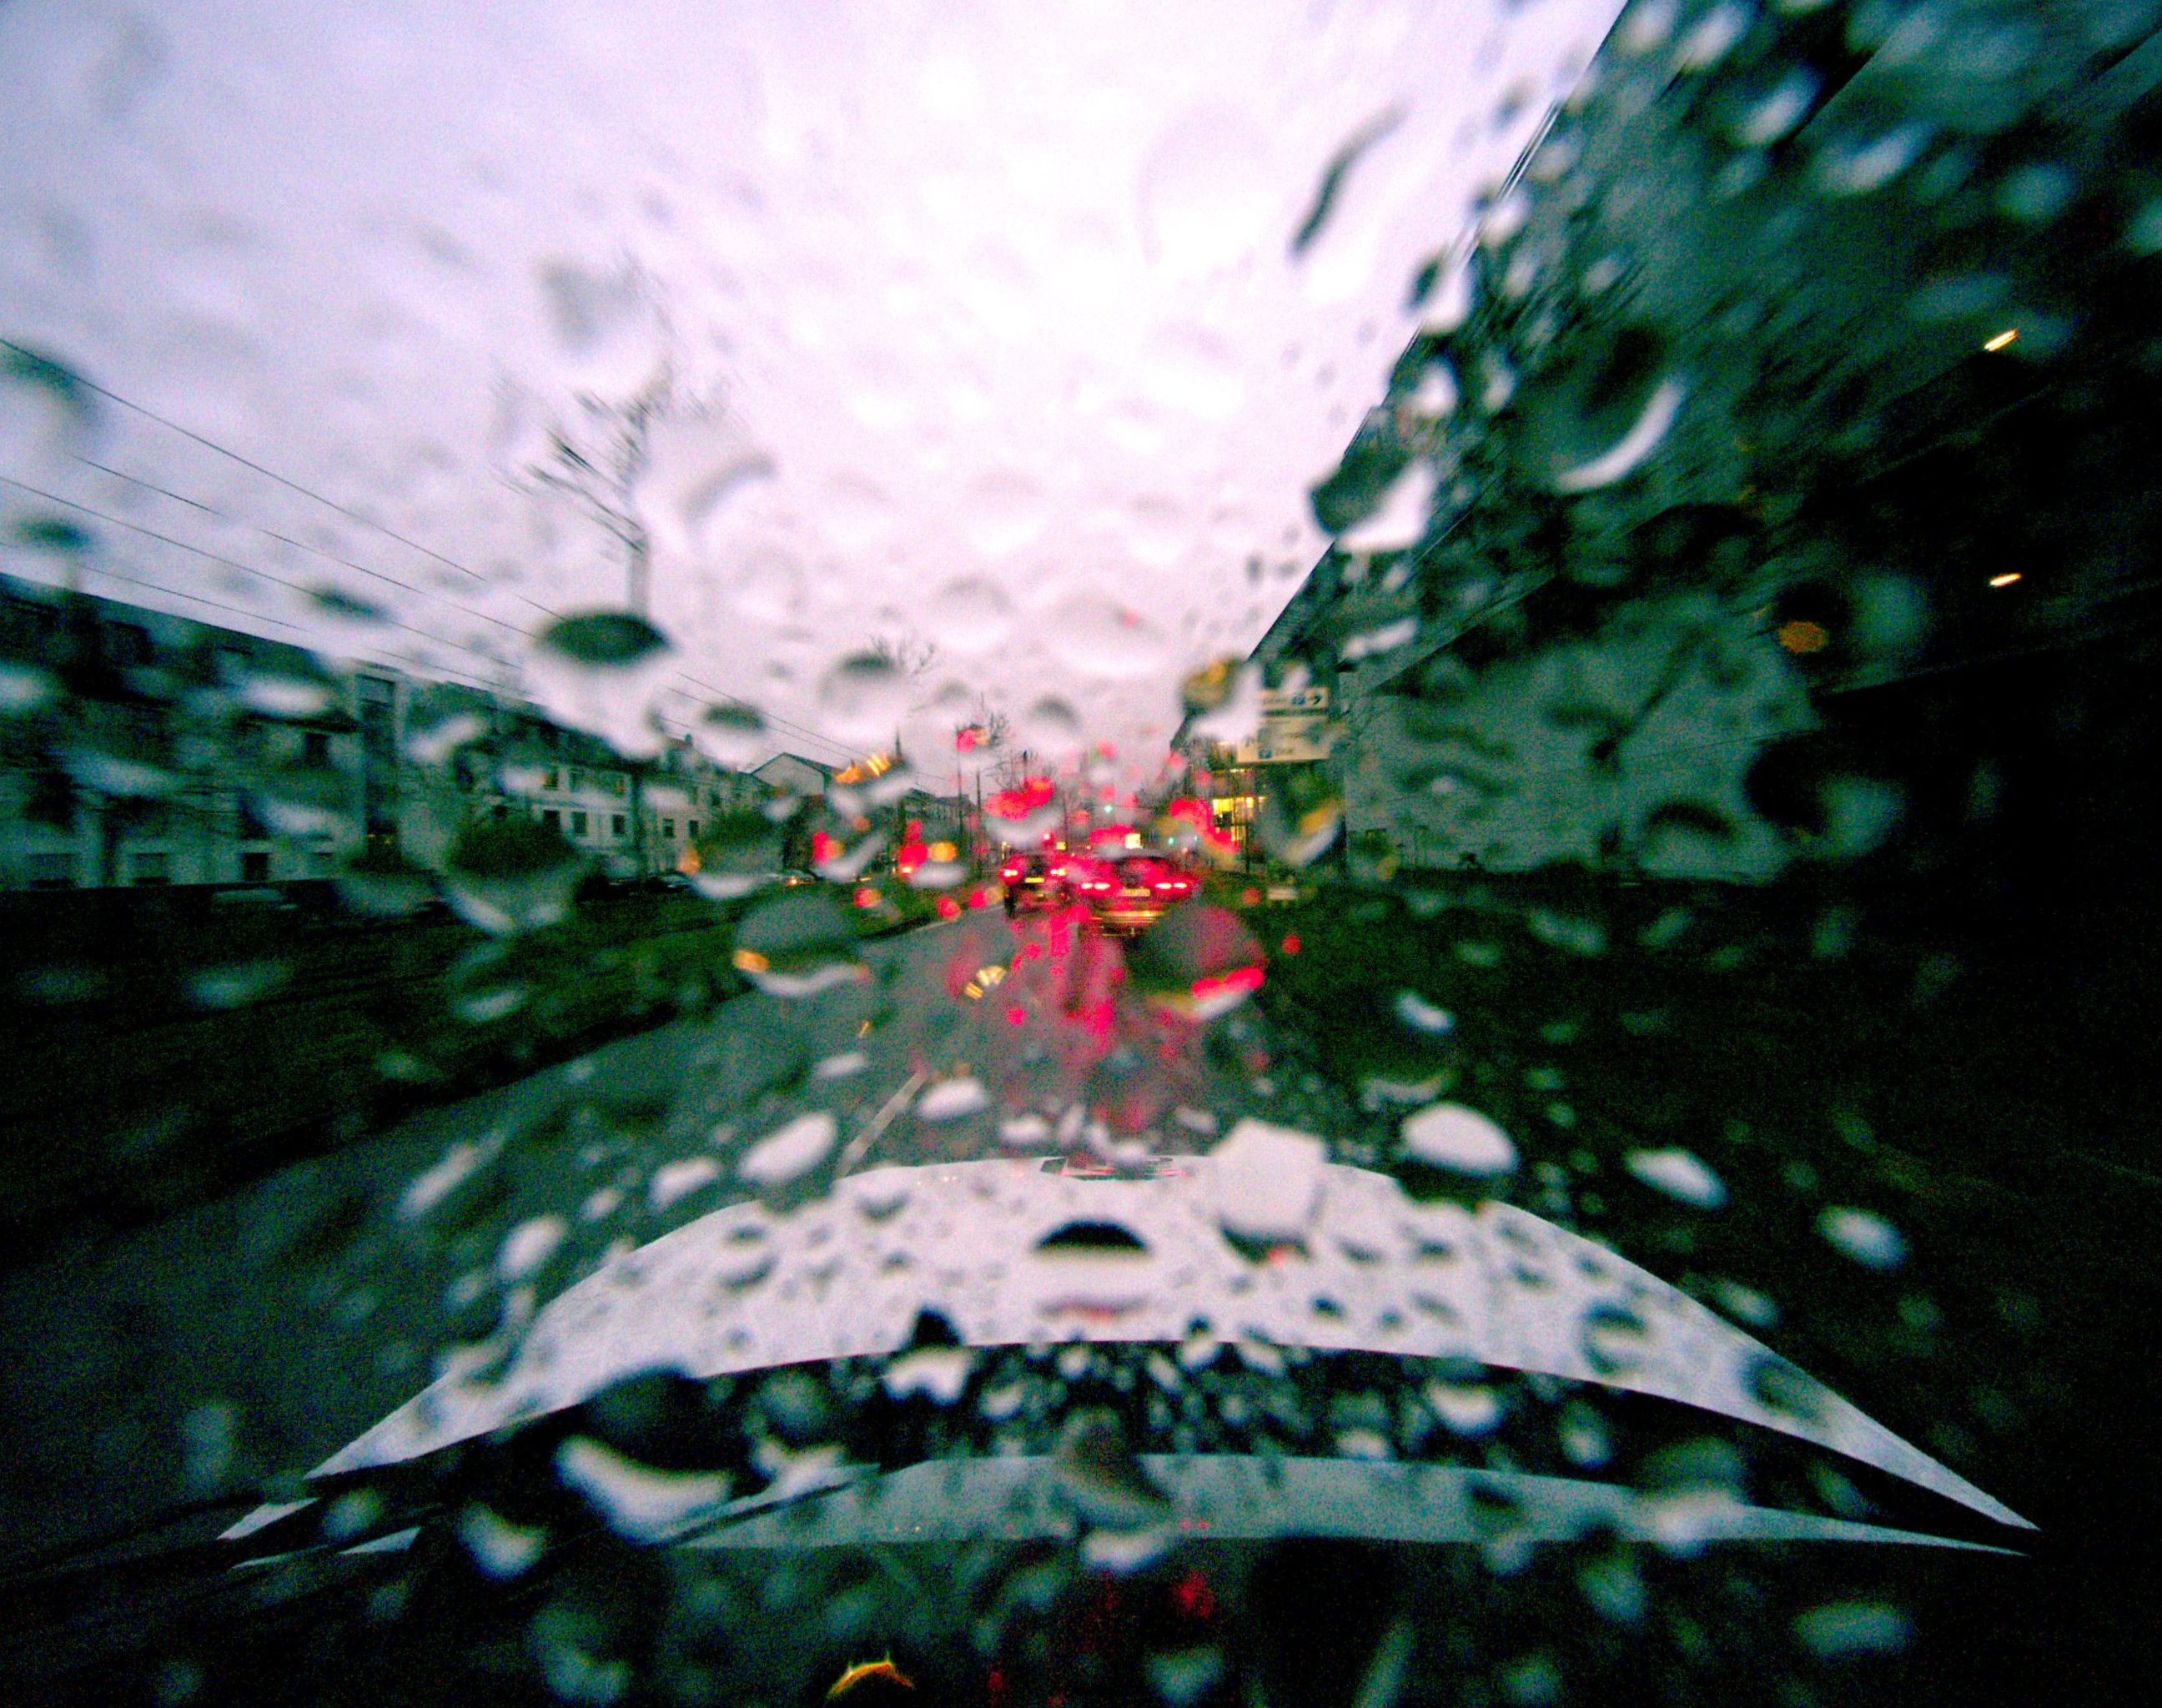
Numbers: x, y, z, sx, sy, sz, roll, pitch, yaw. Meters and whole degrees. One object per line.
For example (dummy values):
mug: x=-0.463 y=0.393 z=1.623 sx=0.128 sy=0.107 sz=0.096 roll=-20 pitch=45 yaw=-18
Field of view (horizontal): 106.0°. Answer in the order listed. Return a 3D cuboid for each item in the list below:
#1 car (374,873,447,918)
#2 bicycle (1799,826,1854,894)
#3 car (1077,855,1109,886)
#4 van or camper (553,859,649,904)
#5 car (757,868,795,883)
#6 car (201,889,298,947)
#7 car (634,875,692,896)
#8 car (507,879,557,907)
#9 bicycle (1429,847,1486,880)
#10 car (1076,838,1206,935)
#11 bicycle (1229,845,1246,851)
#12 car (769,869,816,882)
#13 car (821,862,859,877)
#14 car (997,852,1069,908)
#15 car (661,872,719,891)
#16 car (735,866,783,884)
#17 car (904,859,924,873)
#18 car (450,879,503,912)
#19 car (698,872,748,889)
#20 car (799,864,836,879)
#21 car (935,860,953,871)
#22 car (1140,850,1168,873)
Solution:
car: x=-26.648 y=1.604 z=32.347 sx=3.801 sy=1.588 sz=1.753 roll=0 pitch=0 yaw=43
bicycle: x=14.836 y=0.111 z=16.238 sx=0.406 sy=1.284 sz=1.755 roll=-1 pitch=0 yaw=29
car: x=0.710 y=0.900 z=45.310 sx=1.683 sy=1.635 sz=3.475 roll=-1 pitch=0 yaw=2
van or camper: x=-26.994 y=1.461 z=45.691 sx=6.792 sy=2.360 sz=2.013 roll=0 pitch=0 yaw=35
car: x=-25.459 y=1.772 z=67.987 sx=3.005 sy=1.147 sz=1.406 roll=0 pitch=0 yaw=32
car: x=-26.659 y=1.987 z=26.073 sx=4.109 sy=1.541 sz=1.680 roll=0 pitch=0 yaw=38
car: x=-26.547 y=1.983 z=51.707 sx=3.494 sy=1.212 sz=1.759 roll=0 pitch=0 yaw=33
car: x=-26.346 y=1.861 z=39.044 sx=2.852 sy=1.204 sz=1.397 roll=0 pitch=0 yaw=43
bicycle: x=13.410 y=0.334 z=29.001 sx=1.803 sy=1.052 sz=0.397 roll=-3 pitch=0 yaw=-1
car: x=0.979 y=0.504 z=14.425 sx=1.986 sy=1.483 sz=3.701 roll=-1 pitch=0 yaw=2
bicycle: x=18.039 y=-0.685 z=93.875 sx=1.711 sy=0.745 sz=0.656 roll=0 pitch=0 yaw=35
car: x=-25.186 y=1.861 z=71.003 sx=4.135 sy=1.116 sz=1.692 roll=0 pitch=0 yaw=32
car: x=-24.864 y=1.571 z=84.061 sx=3.749 sy=1.555 sz=1.753 roll=0 pitch=0 yaw=34
car: x=-1.288 y=0.681 z=23.393 sx=1.812 sy=1.450 sz=3.999 roll=-1 pitch=0 yaw=0
car: x=-26.210 y=1.809 z=54.576 sx=3.494 sy=1.200 sz=1.894 roll=0 pitch=0 yaw=33
car: x=-25.662 y=1.639 z=64.850 sx=4.071 sy=1.378 sz=1.784 roll=0 pitch=0 yaw=38
car: x=-20.277 y=1.421 z=99.183 sx=1.607 sy=1.623 sz=3.510 roll=-1 pitch=0 yaw=2
car: x=-27.292 y=1.839 z=36.731 sx=3.058 sy=1.302 sz=1.397 roll=0 pitch=0 yaw=43
car: x=-25.533 y=1.858 z=58.111 sx=3.374 sy=1.147 sz=1.702 roll=0 pitch=0 yaw=33
car: x=-25.328 y=1.697 z=78.269 sx=3.719 sy=1.337 sz=1.463 roll=-2 pitch=0 yaw=37
car: x=-20.913 y=1.747 z=124.317 sx=1.873 sy=1.502 sz=4.791 roll=-1 pitch=0 yaw=1
car: x=5.045 y=0.490 z=56.607 sx=1.858 sy=1.543 sz=3.615 roll=-1 pitch=0 yaw=5
